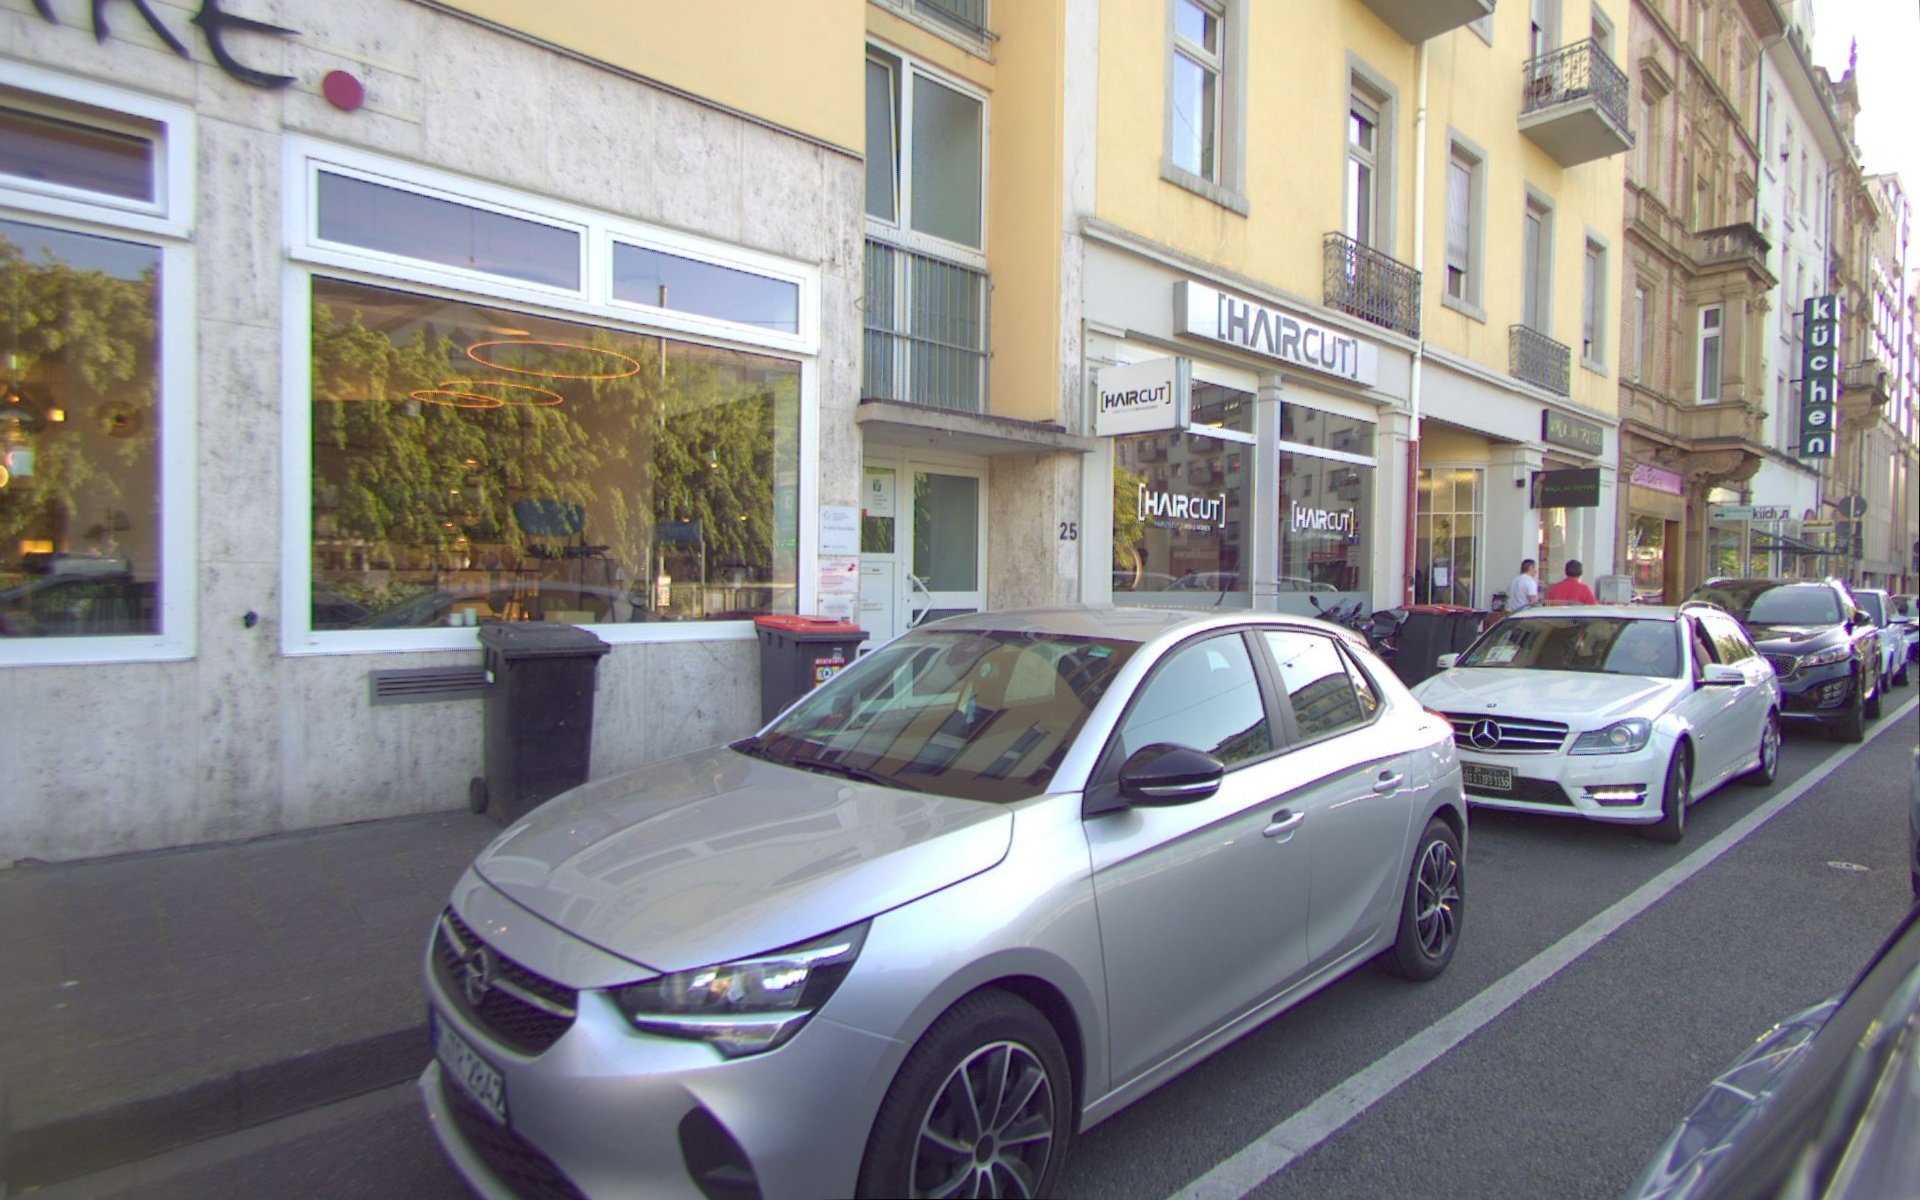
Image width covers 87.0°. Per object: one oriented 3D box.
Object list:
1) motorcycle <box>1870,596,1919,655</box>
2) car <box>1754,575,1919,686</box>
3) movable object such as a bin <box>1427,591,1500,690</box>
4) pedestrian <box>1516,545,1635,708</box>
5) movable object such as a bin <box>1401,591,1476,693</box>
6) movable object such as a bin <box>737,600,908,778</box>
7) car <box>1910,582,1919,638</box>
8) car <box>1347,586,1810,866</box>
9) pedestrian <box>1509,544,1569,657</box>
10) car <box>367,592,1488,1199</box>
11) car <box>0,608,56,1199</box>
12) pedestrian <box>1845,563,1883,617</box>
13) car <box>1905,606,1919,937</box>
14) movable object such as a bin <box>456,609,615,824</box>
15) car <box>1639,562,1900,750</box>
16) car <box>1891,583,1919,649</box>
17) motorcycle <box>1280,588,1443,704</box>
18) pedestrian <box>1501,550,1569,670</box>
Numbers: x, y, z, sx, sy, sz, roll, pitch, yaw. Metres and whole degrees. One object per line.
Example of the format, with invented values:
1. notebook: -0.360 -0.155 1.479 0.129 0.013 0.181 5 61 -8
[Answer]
1. motorcycle: 20.637 0.538 21.711 1.514 1.247 0.771 0 1 1
2. car: 14.145 0.411 16.203 2.965 1.587 1.695 -1 1 -40
3. movable object such as a bin: 6.502 0.499 13.069 0.633 1.222 0.647 0 1 -40
4. pedestrian: 7.325 0.272 12.042 0.992 1.805 0.866 -1 5 -43
5. movable object such as a bin: 5.992 0.509 12.680 0.633 1.222 0.647 0 1 -40
6. movable object such as a bin: -0.926 0.551 6.798 0.878 1.066 0.752 -1 1 -40
7. car: 27.744 0.252 28.059 3.932 1.504 1.713 -1 1 -42
8. car: 4.820 0.639 7.562 4.520 1.480 1.757 -1 1 -42
9. pedestrian: 8.591 0.003 15.017 0.631 1.637 0.572 0 1 -40
10. car: 0.247 0.700 3.431 3.644 1.415 1.651 -1 1 -43
11. car: -2.885 0.733 0.493 3.578 1.399 1.616 -1 0 -40
12. pedestrian: 27.923 -0.300 31.251 0.750 1.637 0.794 0 1 -43
13. car: 6.203 0.720 5.055 4.183 1.396 1.846 -1 1 -42
14. movable object such as a bin: -2.339 0.587 5.559 0.591 1.041 0.812 -1 1 -40
15. car: 9.347 0.468 11.530 1.853 1.719 4.623 1 1 45
16. car: 23.637 0.358 24.166 3.932 1.504 1.713 -1 1 -42
17. motorcycle: 4.677 0.470 11.705 2.208 1.179 0.773 -1 4 -41
18. pedestrian: 8.081 0.123 14.228 0.689 1.637 0.641 0 1 -42
